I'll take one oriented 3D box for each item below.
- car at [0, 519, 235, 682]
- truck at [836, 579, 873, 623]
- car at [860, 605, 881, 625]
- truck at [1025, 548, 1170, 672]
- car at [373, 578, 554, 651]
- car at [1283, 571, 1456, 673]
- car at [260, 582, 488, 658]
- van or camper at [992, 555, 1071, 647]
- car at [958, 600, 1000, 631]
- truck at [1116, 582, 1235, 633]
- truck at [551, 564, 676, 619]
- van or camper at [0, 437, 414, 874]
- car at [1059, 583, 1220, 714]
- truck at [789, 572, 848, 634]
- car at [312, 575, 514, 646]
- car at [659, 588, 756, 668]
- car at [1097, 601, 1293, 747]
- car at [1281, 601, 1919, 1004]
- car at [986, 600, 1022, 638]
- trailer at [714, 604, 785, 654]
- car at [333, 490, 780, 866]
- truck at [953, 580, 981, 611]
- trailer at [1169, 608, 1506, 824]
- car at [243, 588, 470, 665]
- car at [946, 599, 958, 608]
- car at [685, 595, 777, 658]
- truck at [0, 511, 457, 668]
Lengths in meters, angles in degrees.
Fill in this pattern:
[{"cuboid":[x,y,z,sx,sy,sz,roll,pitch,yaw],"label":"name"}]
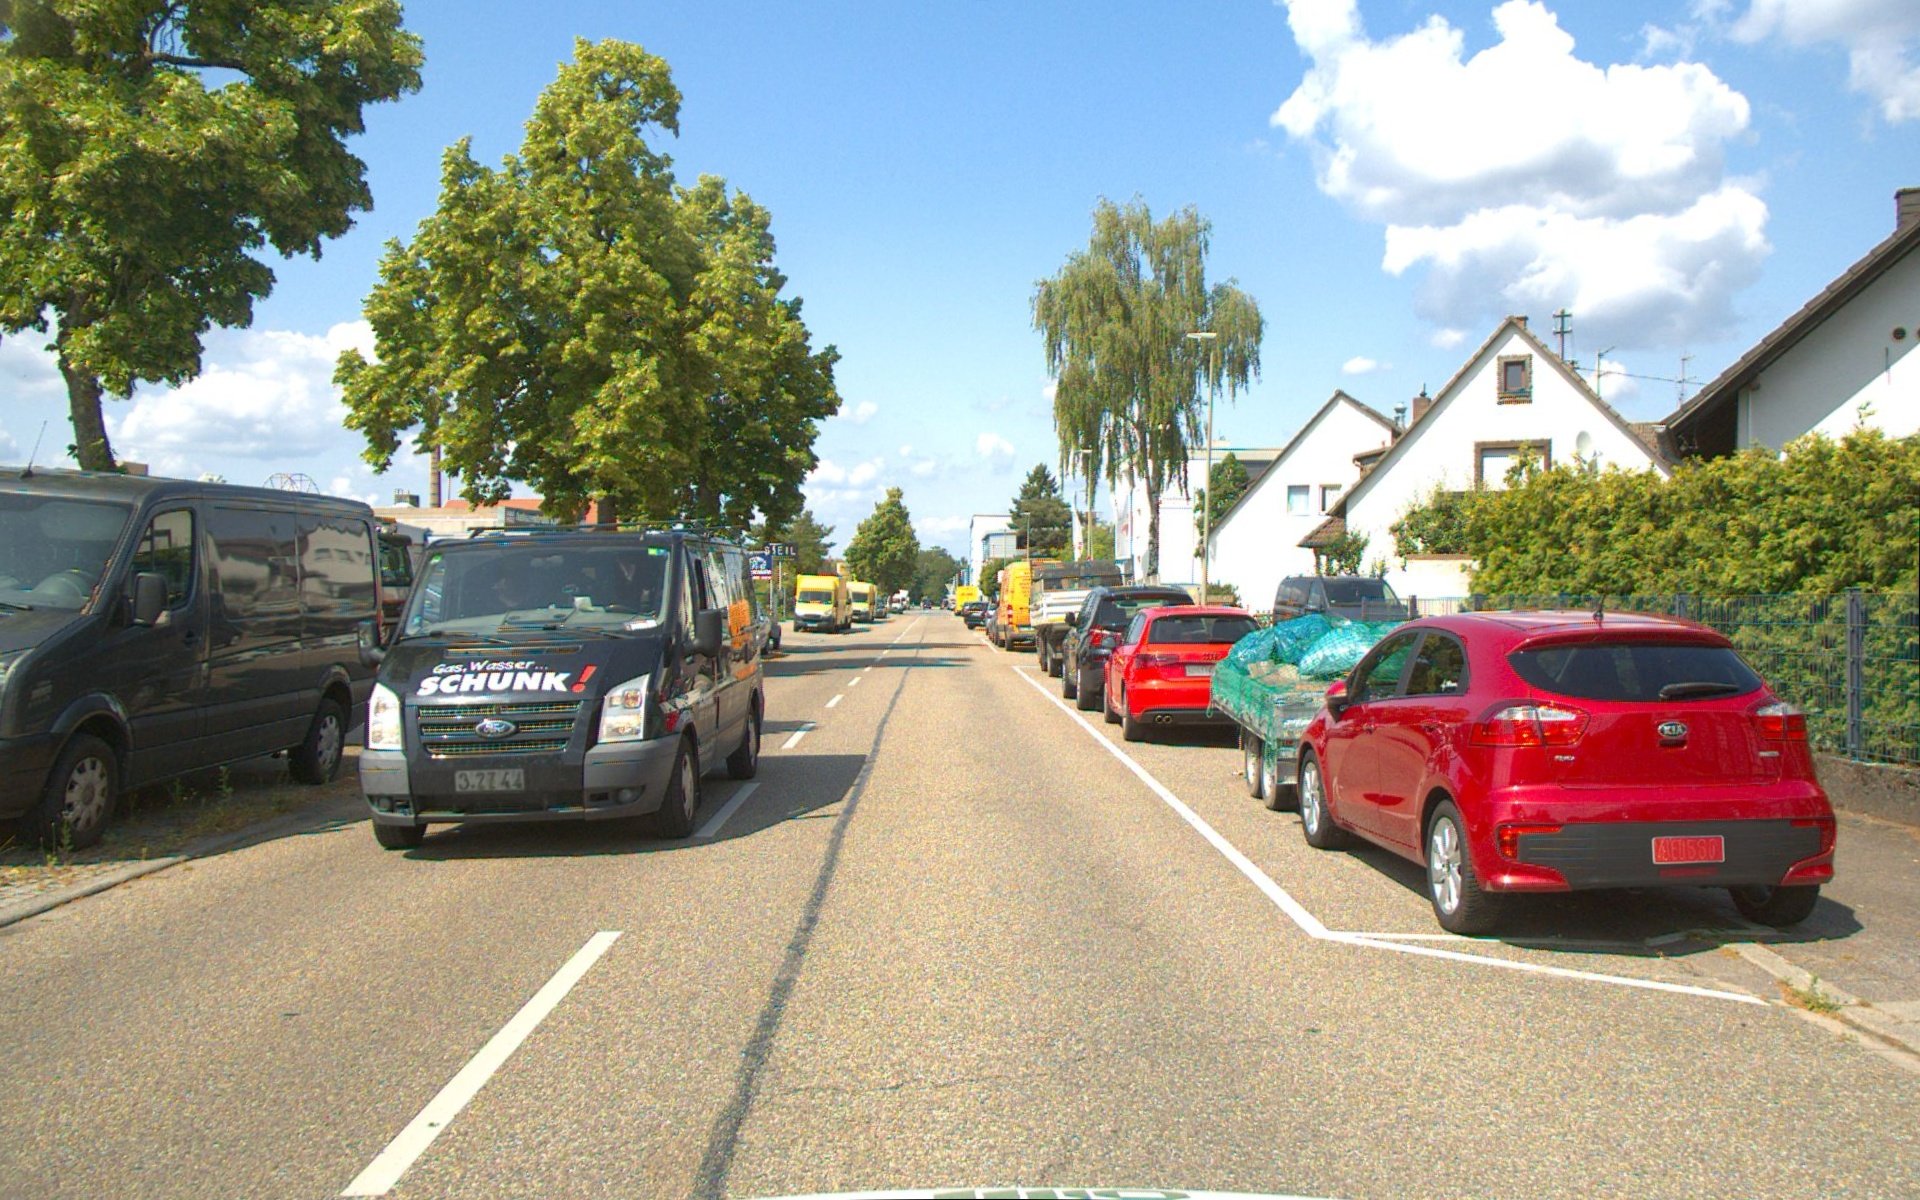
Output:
[{"cuboid":[-13.601,0.015,24.565,4.894,2.271,2.001,0,-1,12],"label":"car"},{"cuboid":[-7.431,0.106,117.044,2.223,2.905,7.171,1,-1,-2],"label":"truck"},{"cuboid":[-7.836,1.296,145.293,1.690,1.632,4.412,3,0,-3],"label":"car"},{"cuboid":[2.724,0.193,34.248,2.470,2.339,5.894,0,0,0],"label":"truck"},{"cuboid":[-12.639,0.373,42.275,4.058,1.819,1.827,0,-1,2],"label":"car"},{"cuboid":[8.126,0.400,33.309,1.821,1.898,5.015,0,0,-5],"label":"car"},{"cuboid":[-13.083,0.434,37.075,4.431,1.610,1.827,0,1,1],"label":"car"},{"cuboid":[2.159,0.029,51.471,1.954,2.710,5.766,0,0,-3],"label":"van or camper"},{"cuboid":[0.997,0.776,85.407,1.397,1.545,3.018,0,0,17],"label":"car"},{"cuboid":[11.489,0.387,88.132,5.968,2.622,2.544,0,0,-27],"label":"truck"},{"cuboid":[-19.797,-0.497,94.651,6.457,2.899,2.531,2,0,12],"label":"truck"},{"cuboid":[-6.017,0.235,11.870,1.952,2.357,5.935,3,0,1],"label":"van or camper"},{"cuboid":[2.470,0.630,23.783,1.792,1.691,4.553,0,0,-1],"label":"car"},{"cuboid":[-7.086,0.131,83.450,2.175,2.907,7.069,2,0,1],"label":"truck"},{"cuboid":[-12.989,0.233,39.453,4.208,1.643,1.826,0,1,-2],"label":"car"},{"cuboid":[-5.977,0.619,39.581,1.659,1.729,4.399,2,0,-1],"label":"car"},{"cuboid":[2.562,0.752,18.900,1.650,1.460,4.146,1,0,0],"label":"car"},{"cuboid":[3.041,0.759,8.542,1.657,1.488,4.753,1,0,-2],"label":"car"},{"cuboid":[1.981,0.841,75.176,1.577,1.608,4.000,1,0,1],"label":"car"},{"cuboid":[-6.325,0.846,50.135,1.726,1.312,4.505,3,0,-3],"label":"trailer"},{"cuboid":[-2.566,0.439,11.957,2.009,2.070,5.140,-2,0,-1],"label":"car"},{"cuboid":[0.693,-0.431,167.378,2.424,2.991,7.185,1,0,-2],"label":"truck"},{"cuboid":[2.801,0.783,13.235,1.575,1.402,4.431,1,0,-1],"label":"trailer"},{"cuboid":[-12.618,0.543,34.718,4.110,1.484,1.678,-1,1,1],"label":"car"},{"cuboid":[-1.287,0.557,260.020,1.889,1.333,3.999,0,0,-1],"label":"car"},{"cuboid":[-6.148,0.677,44.856,1.795,1.555,4.237,2,0,1],"label":"car"},{"cuboid":[-14.862,-0.191,32.561,9.064,2.906,2.722,0,0,3],"label":"truck"}]
